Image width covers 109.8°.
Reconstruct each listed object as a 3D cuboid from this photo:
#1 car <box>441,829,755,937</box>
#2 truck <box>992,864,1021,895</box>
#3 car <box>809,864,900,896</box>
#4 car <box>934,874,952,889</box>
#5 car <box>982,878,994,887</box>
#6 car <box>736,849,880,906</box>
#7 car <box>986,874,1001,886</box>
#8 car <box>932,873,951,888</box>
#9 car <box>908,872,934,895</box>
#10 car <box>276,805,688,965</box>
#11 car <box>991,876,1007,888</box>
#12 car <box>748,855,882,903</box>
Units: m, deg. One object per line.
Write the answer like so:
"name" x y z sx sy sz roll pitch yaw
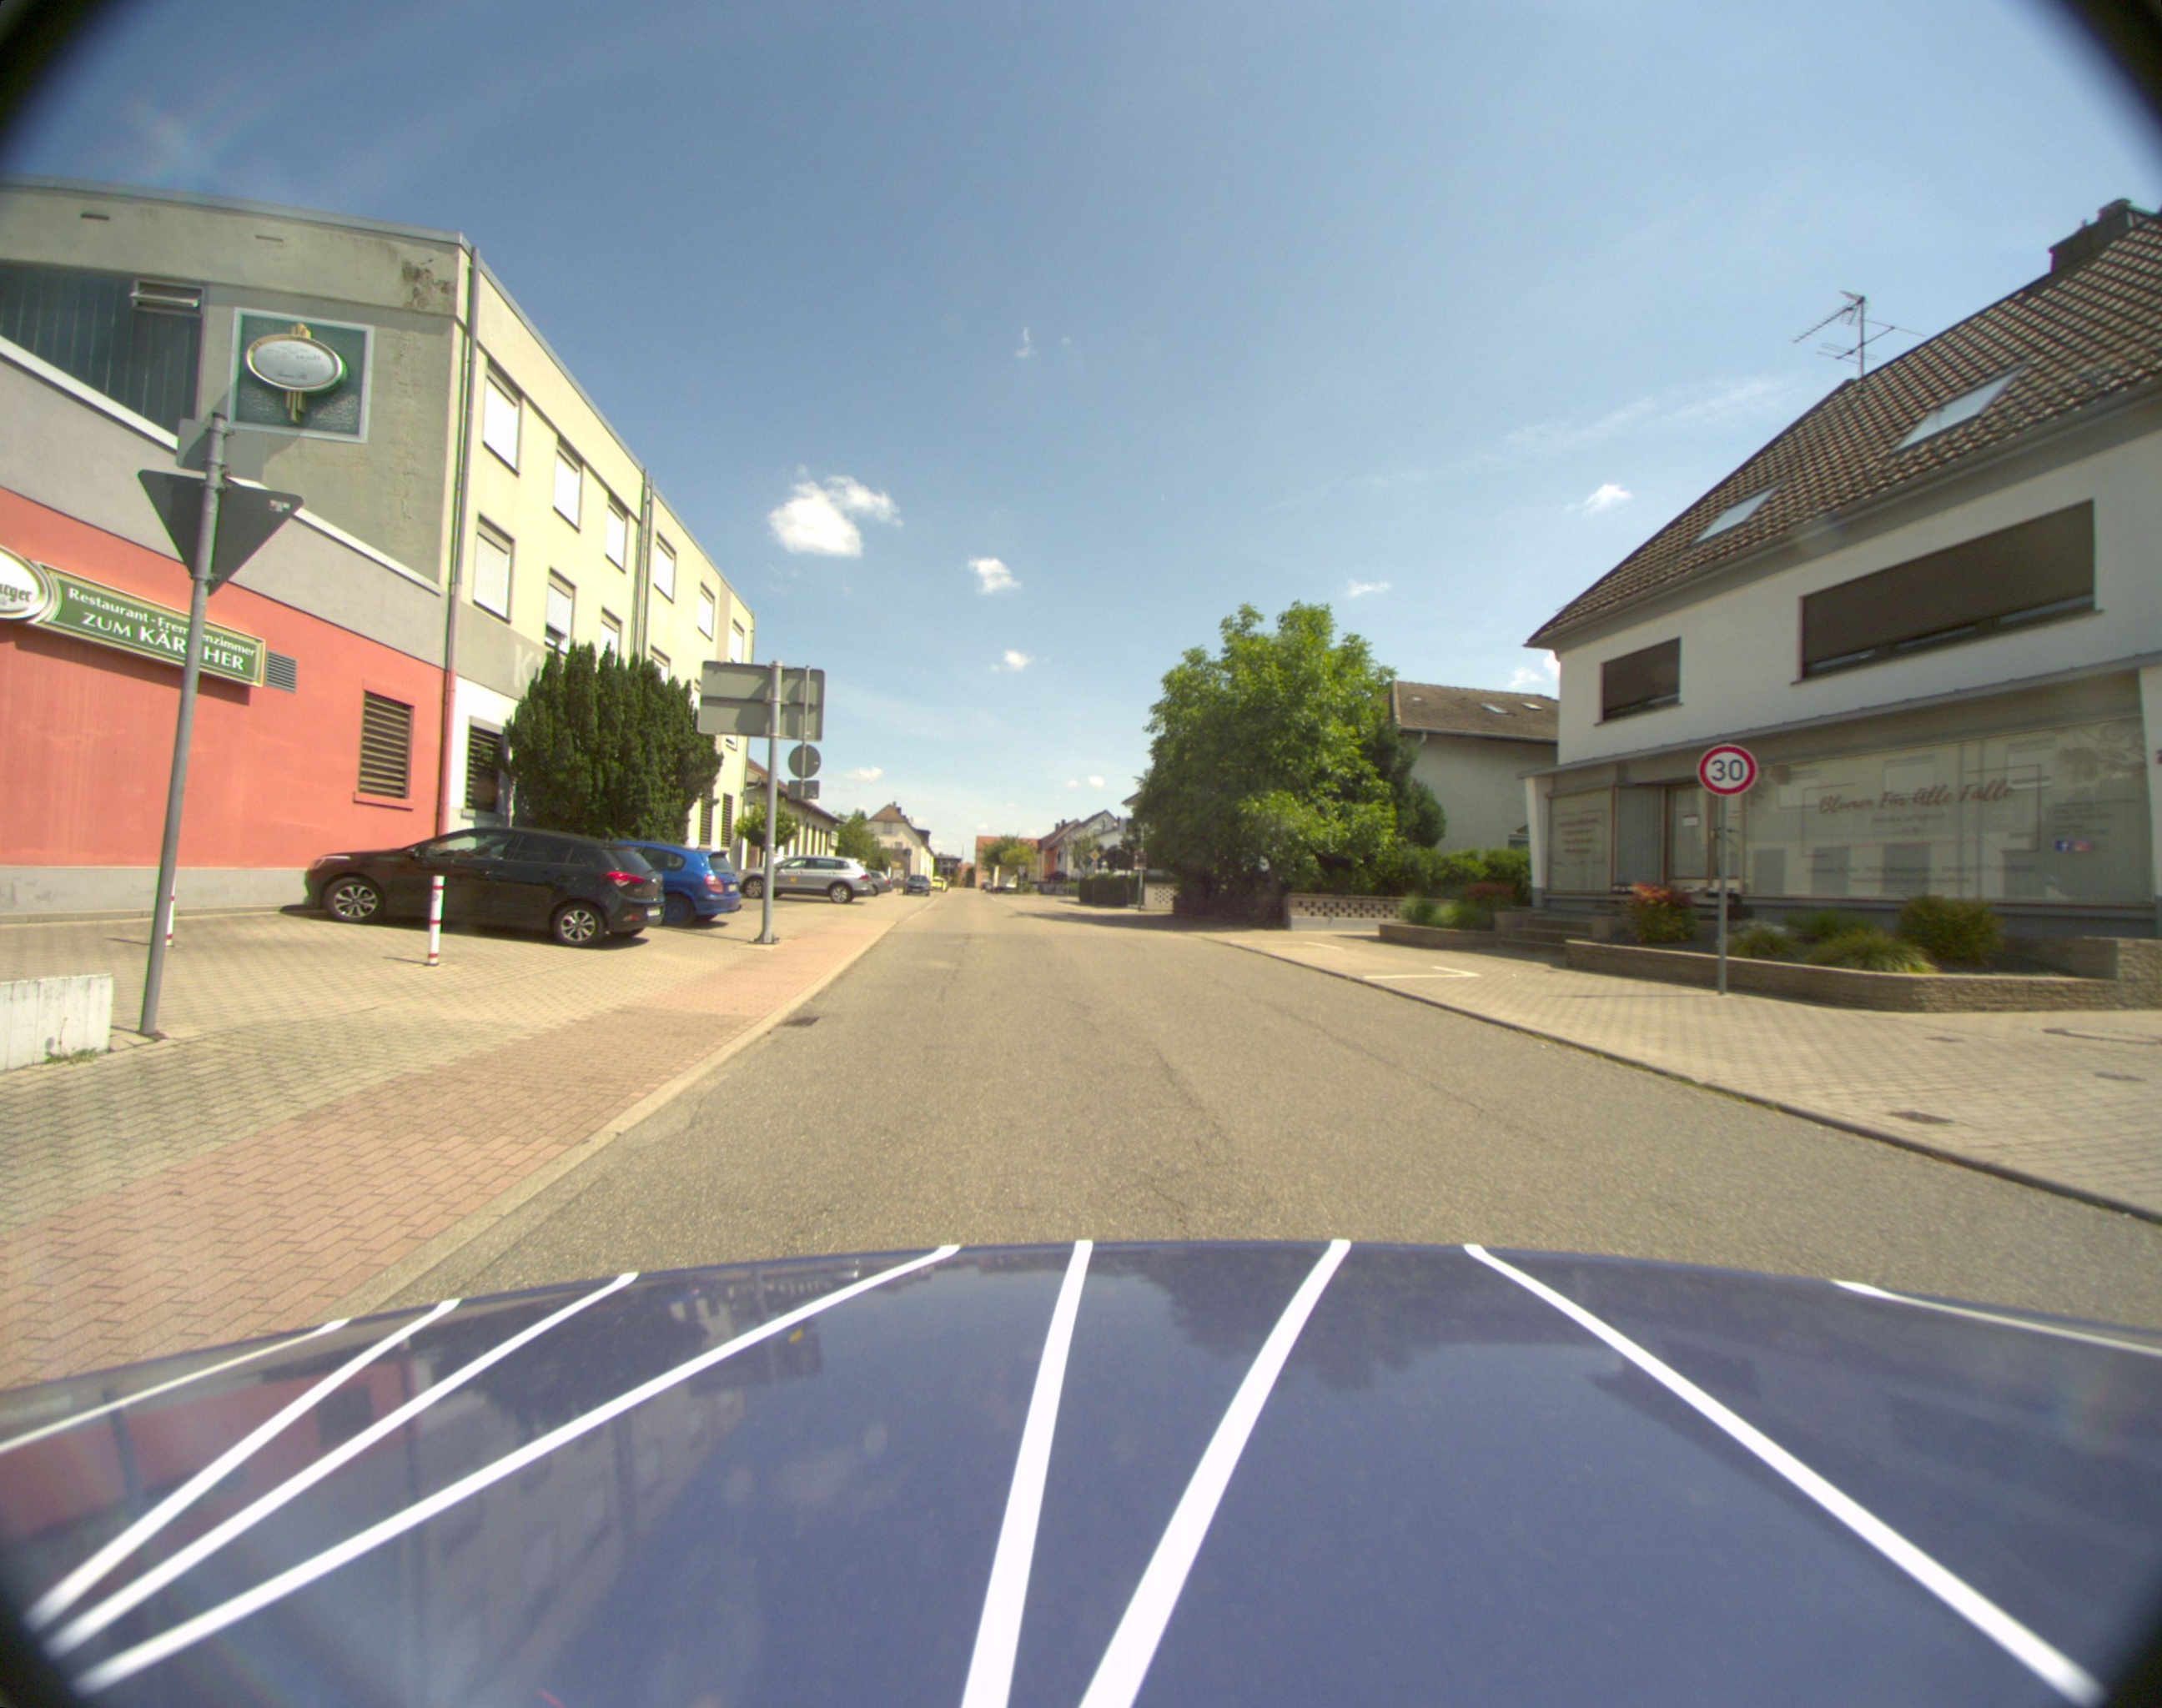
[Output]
"car" -8.458 0.504 13.709 4.338 1.431 1.778 6 0 -10
"truck" -8.797 3.006 89.145 2.446 3.226 7.031 6 -3 -11
"car" -12.539 1.473 42.364 4.542 1.445 1.917 4 -2 -9
"car" -15.885 3.211 87.672 1.722 1.490 4.213 6 -3 -9
"car" -17.013 5.150 139.005 1.722 1.491 4.213 5 -3 -10
"car" -9.602 0.851 27.085 4.469 1.686 1.921 4 -2 -11
"car" -12.510 3.686 108.671 1.722 1.491 4.213 5 -3 -10
"car" -15.232 2.869 83.005 1.722 1.389 4.213 6 -3 -9
"car" -11.212 2.047 53.534 1.633 1.479 4.137 3 -2 -10
"car" -7.925 0.432 10.489 3.909 1.481 1.808 9 -2 -11
"car" -11.122 3.799 102.698 1.722 1.491 4.213 5 -3 -10
"car" -10.130 0.972 29.300 4.516 1.510 1.999 4 -2 -10
